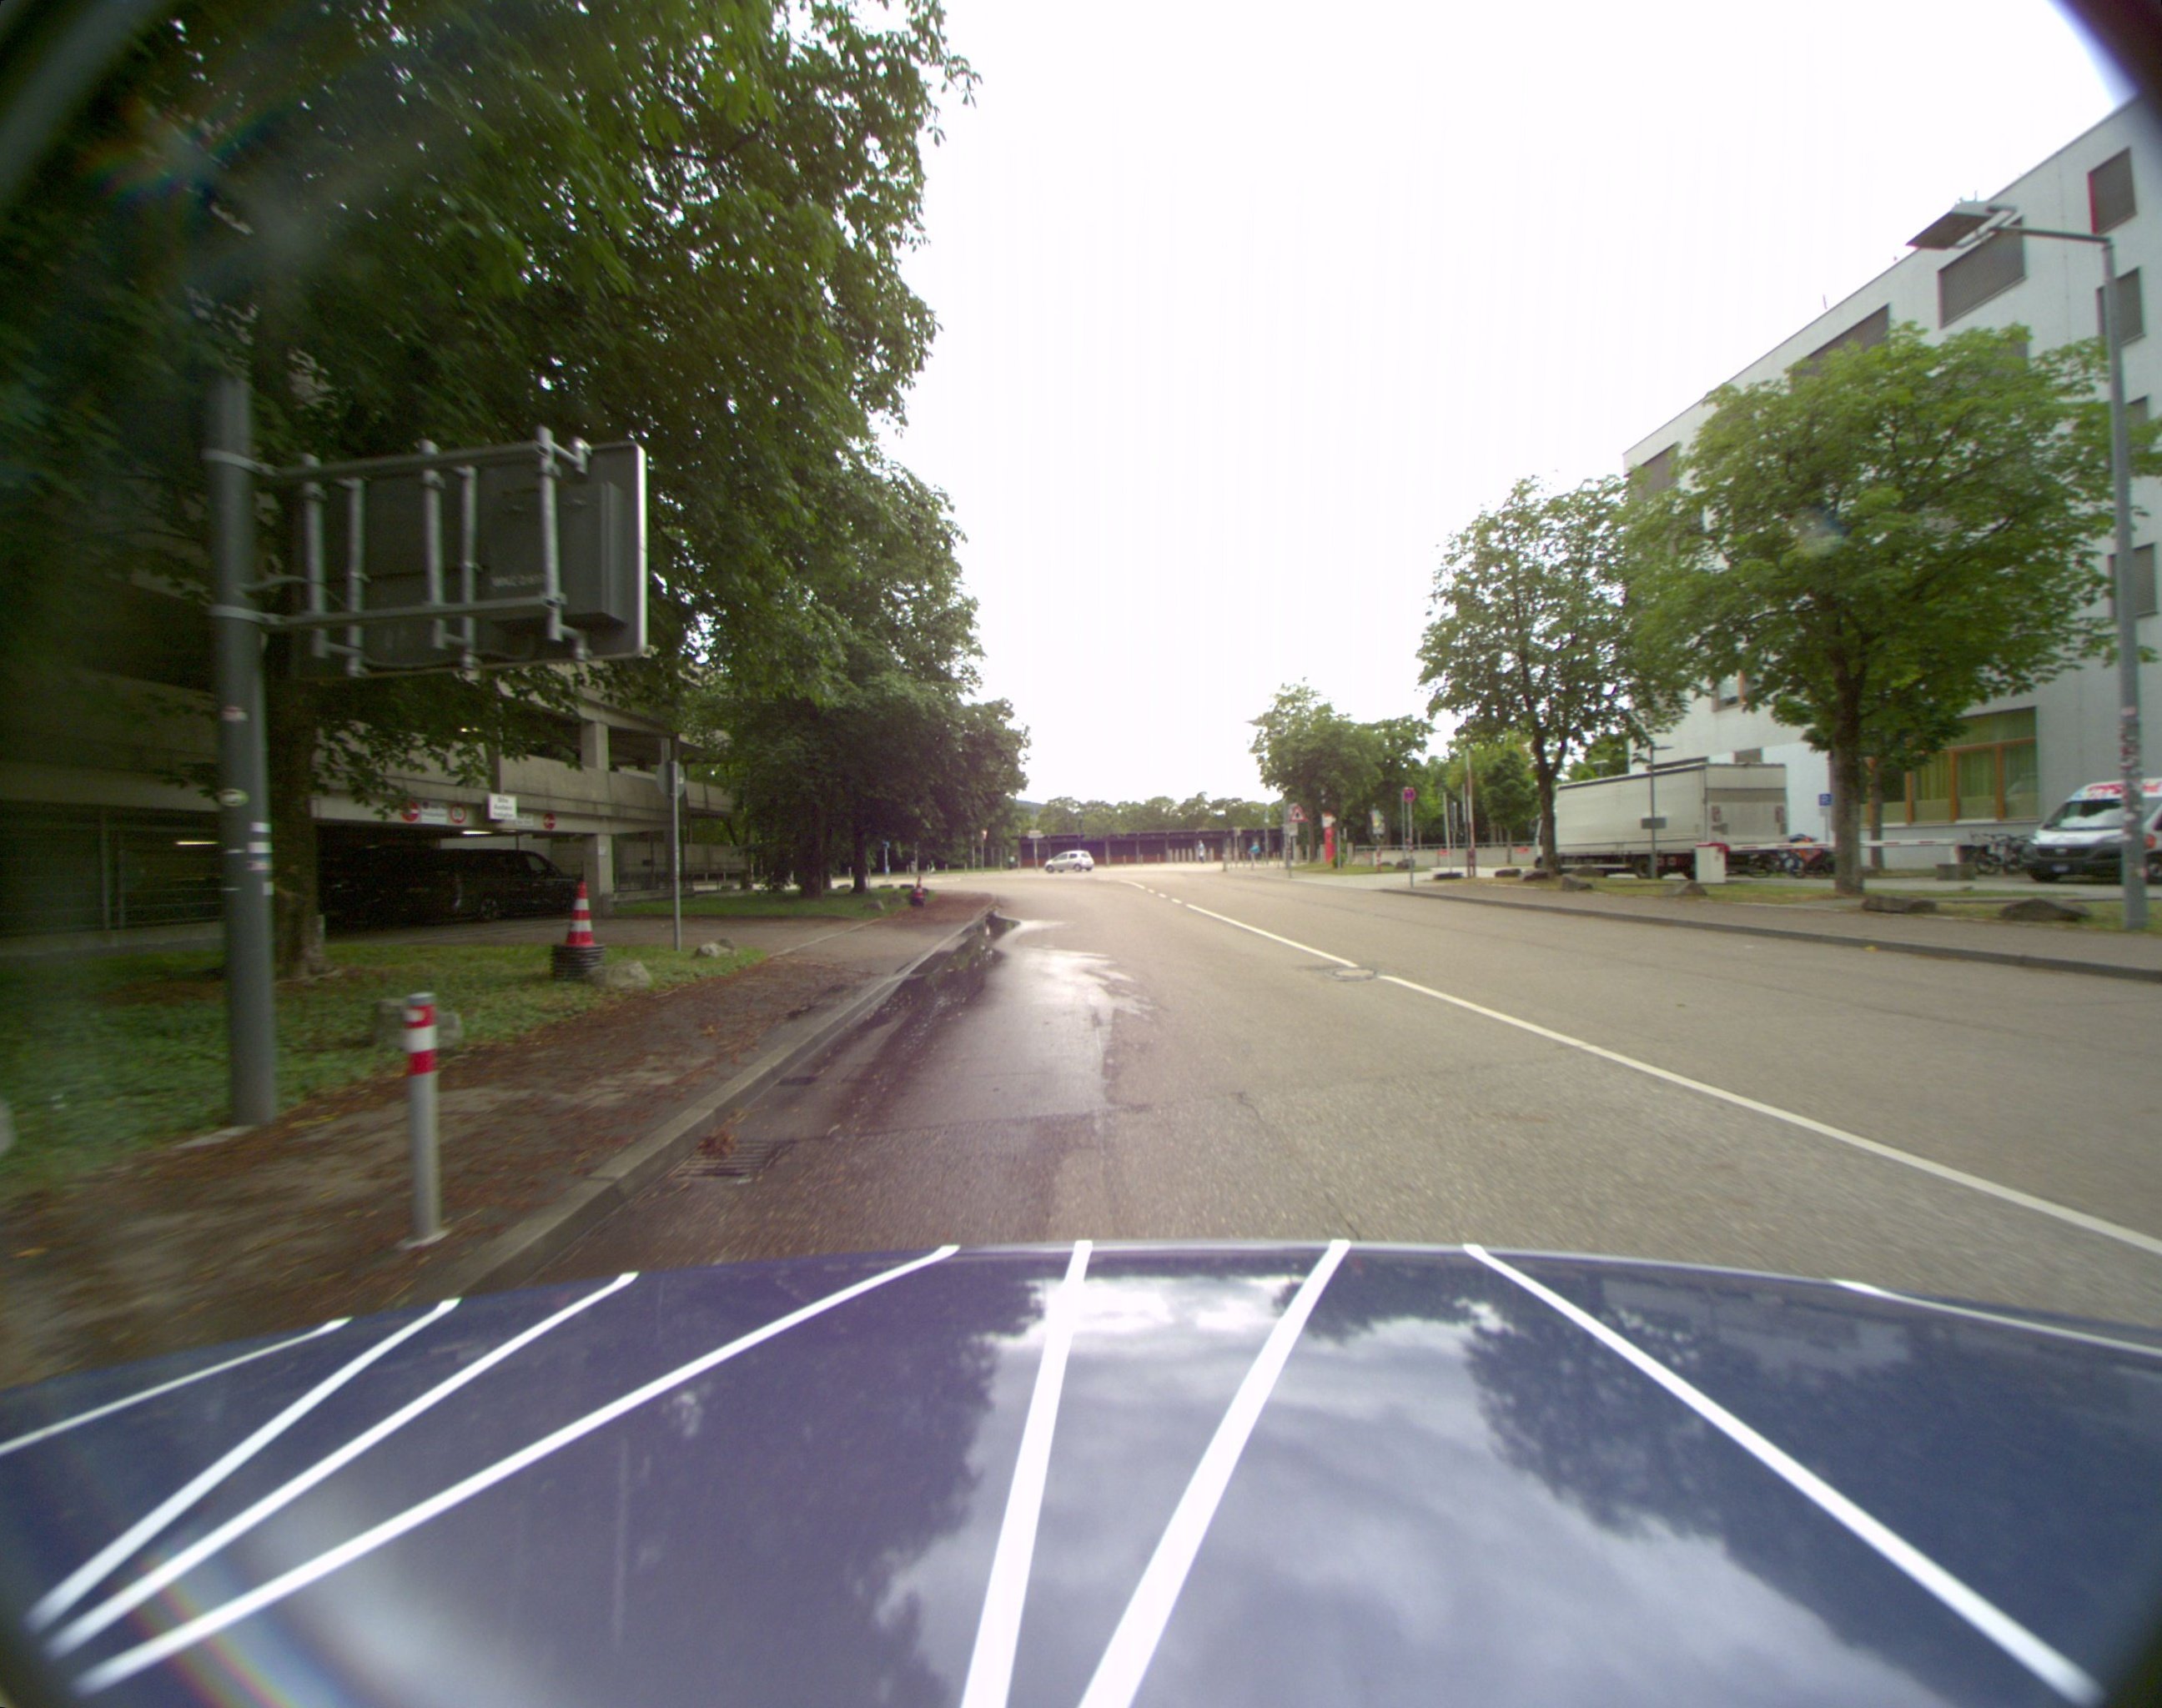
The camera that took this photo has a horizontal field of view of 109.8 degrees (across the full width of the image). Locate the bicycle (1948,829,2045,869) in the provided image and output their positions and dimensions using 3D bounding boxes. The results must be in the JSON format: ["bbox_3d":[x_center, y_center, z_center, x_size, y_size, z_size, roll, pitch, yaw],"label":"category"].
[{"bbox_3d":[26.477,-0.155,21.988,2.030,1.064,0.613,-3,2,1],"label":"bicycle"}]

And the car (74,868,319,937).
[{"bbox_3d":[-23.850,1.228,20.760,1.876,1.445,3.999,-3,2,1],"label":"car"}]

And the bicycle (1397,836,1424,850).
[{"bbox_3d":[28.316,-0.937,65.318,2.052,1.137,0.776,-3,3,-12],"label":"bicycle"}]

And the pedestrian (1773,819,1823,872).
[{"bbox_3d":[22.329,-0.271,23.671,0.679,1.597,0.887,-3,2,-9],"label":"pedestrian"}]

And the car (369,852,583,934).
[{"bbox_3d":[-15.742,0.898,20.189,1.924,1.824,4.734,-3,1,-2],"label":"car"}]

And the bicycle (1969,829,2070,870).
[{"bbox_3d":[26.326,-0.130,21.333,2.030,1.064,0.613,-3,2,1],"label":"bicycle"}]

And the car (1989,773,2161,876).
[{"bbox_3d":[25.632,-0.781,18.140,5.641,2.266,2.078,-3,2,-2],"label":"car"}]

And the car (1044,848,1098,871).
[{"bbox_3d":[-0.711,0.403,55.031,3.494,1.448,1.609,-2,2,31],"label":"car"}]

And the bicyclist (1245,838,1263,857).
[{"bbox_3d":[13.801,-0.543,60.712,1.159,1.422,0.742,-3,2,-6],"label":"bicyclist"}]

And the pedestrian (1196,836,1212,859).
[{"bbox_3d":[10.105,-0.523,62.566,1.200,1.824,0.928,-2,3,9],"label":"pedestrian"}]

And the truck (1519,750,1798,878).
[{"bbox_3d":[19.070,-1.260,26.065,2.684,3.580,8.359,-3,2,-5],"label":"truck"}]

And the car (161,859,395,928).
[{"bbox_3d":[-21.138,0.968,20.296,1.876,1.445,3.999,-3,2,1],"label":"car"}]

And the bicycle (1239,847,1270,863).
[{"bbox_3d":[13.842,0.096,60.733,2.257,1.117,0.747,-3,2,-6],"label":"bicycle"}]

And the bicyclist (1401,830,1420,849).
[{"bbox_3d":[28.297,-1.254,65.305,1.102,1.487,0.926,-3,3,-12],"label":"bicyclist"}]
